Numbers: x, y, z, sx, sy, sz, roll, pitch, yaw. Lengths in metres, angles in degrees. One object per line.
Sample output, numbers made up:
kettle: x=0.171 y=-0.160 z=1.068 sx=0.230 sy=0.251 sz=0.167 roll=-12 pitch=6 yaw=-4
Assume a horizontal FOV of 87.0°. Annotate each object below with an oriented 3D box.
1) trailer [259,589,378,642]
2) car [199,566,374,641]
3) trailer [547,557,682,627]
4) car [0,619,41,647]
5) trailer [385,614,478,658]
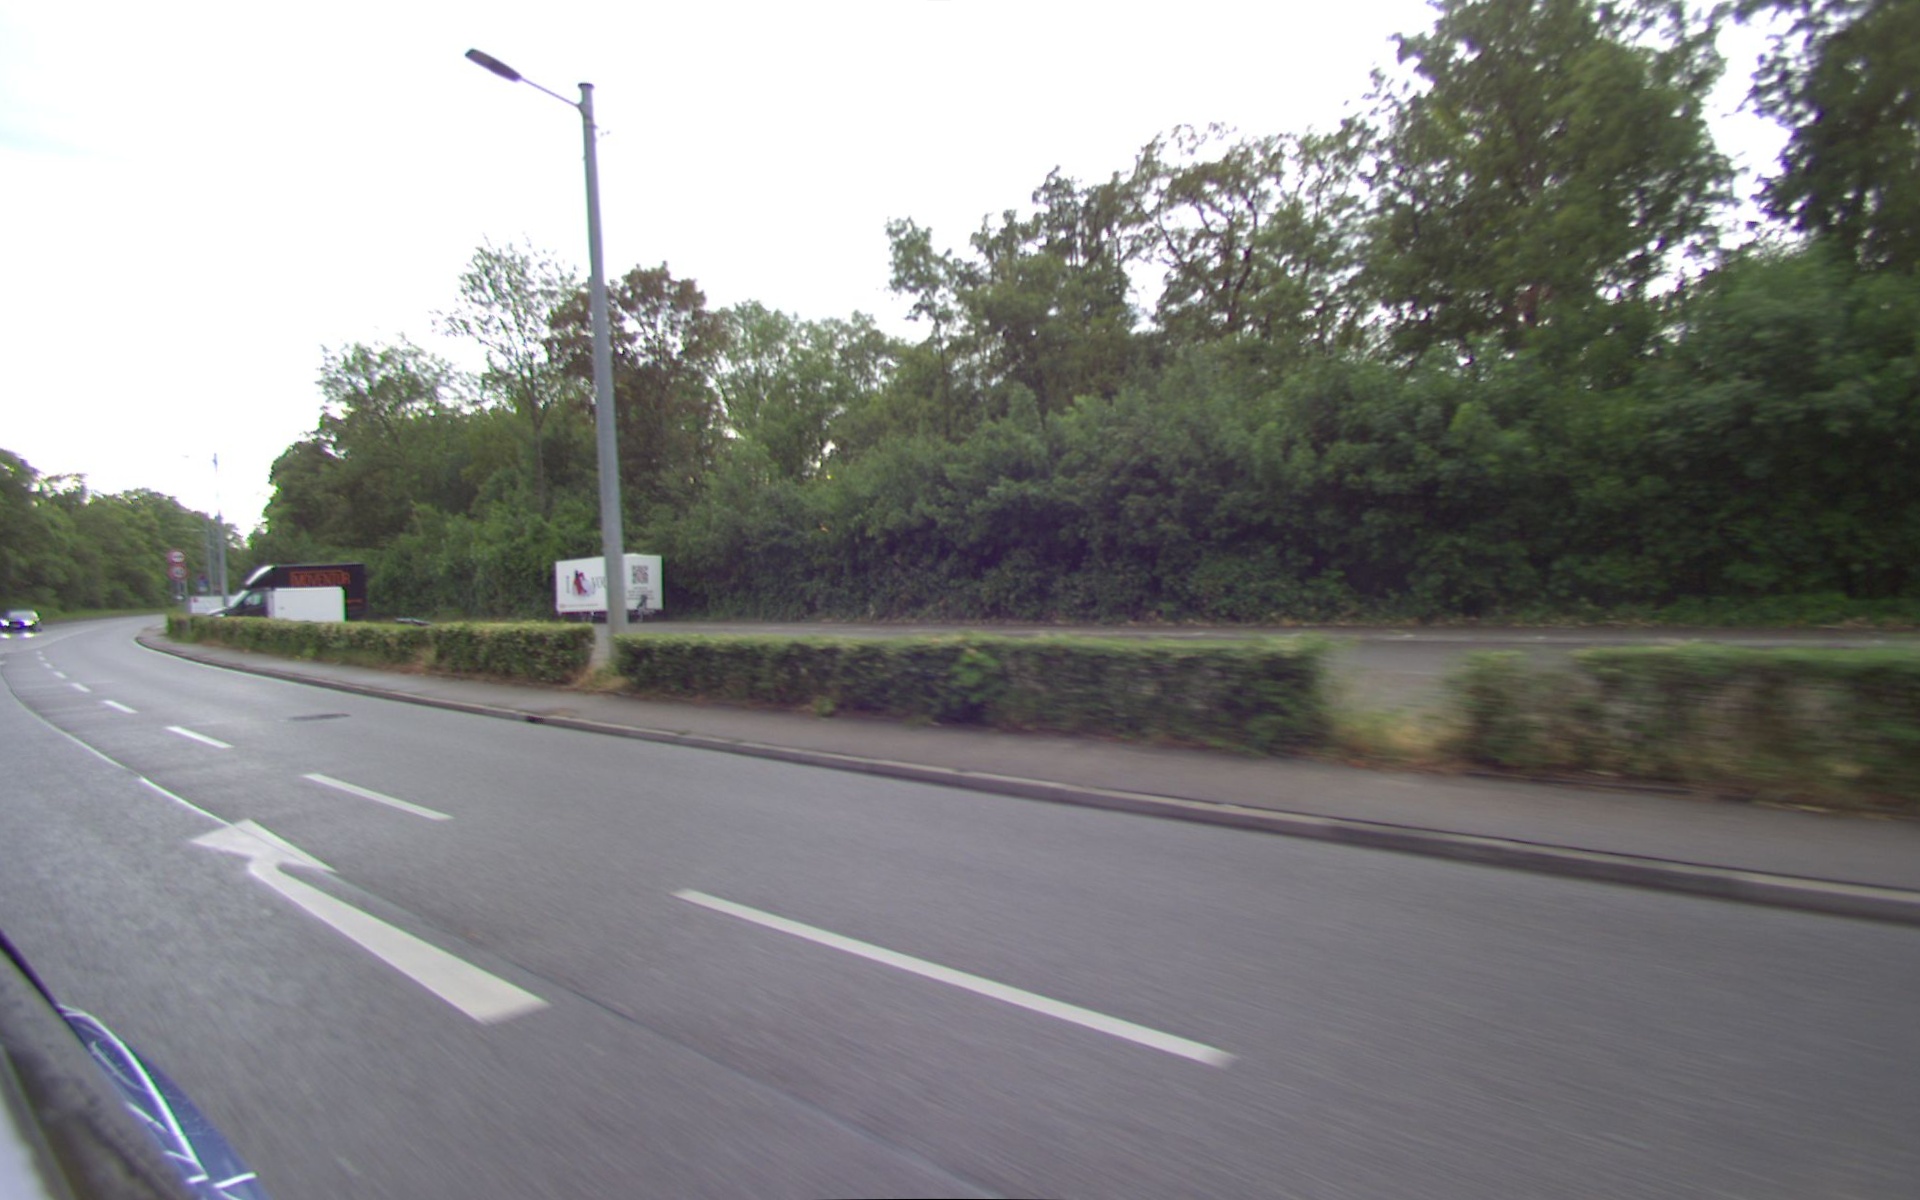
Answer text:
trailer: x=-26.931 y=0.626 z=42.527 sx=3.939 sy=2.068 sz=1.875 roll=-2 pitch=1 yaw=-43
car: x=-30.779 y=0.076 z=46.395 sx=2.753 sy=3.136 sz=6.202 roll=0 pitch=2 yaw=44
trailer: x=-15.706 y=-0.321 z=45.648 sx=7.980 sy=2.895 sz=2.448 roll=-1 pitch=0 yaw=45
car: x=-62.931 y=2.196 z=67.532 sx=1.967 sy=1.696 sz=4.009 roll=-1 pitch=1 yaw=-37
trailer: x=-13.801 y=0.923 z=26.467 sx=1.333 sy=1.042 sz=1.782 roll=-1 pitch=1 yaw=41
